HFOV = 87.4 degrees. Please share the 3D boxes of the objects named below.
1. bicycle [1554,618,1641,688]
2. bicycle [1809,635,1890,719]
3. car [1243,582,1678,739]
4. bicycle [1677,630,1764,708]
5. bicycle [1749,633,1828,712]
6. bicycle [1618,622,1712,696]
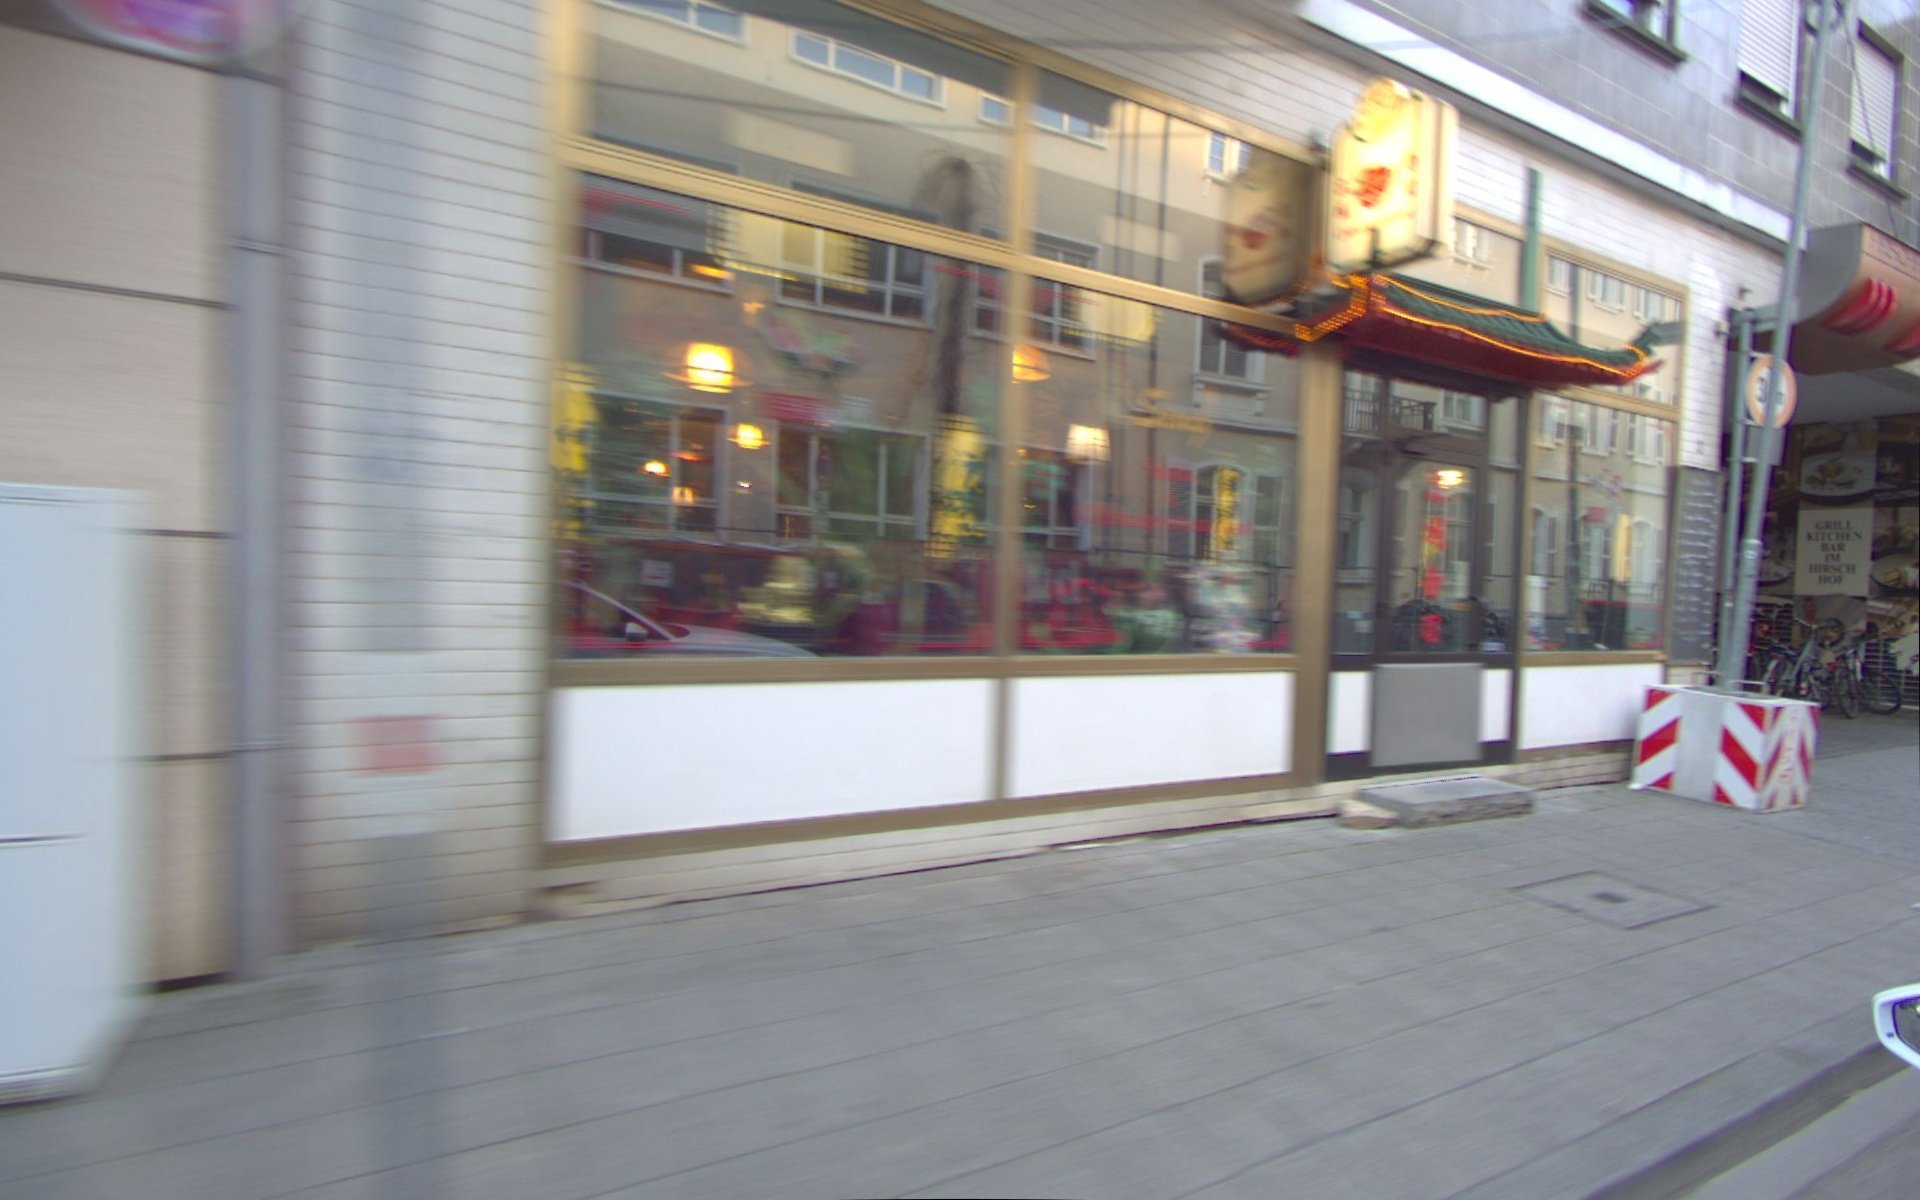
[{"bbox_3d":[9.712,0.781,15.274,1.776,0.974,0.375,0,2,-32],"label":"bicycle"},{"bbox_3d":[11.435,0.966,12.901,1.486,0.974,0.375,0,2,-34],"label":"bicycle"},{"bbox_3d":[5.762,0.576,12.140,1.997,1.441,4.292,1,2,-31],"label":"car"},{"bbox_3d":[10.604,0.940,13.982,1.777,0.974,0.375,0,2,-34],"label":"bicycle"},{"bbox_3d":[11.173,0.957,13.532,1.486,0.974,0.375,0,2,-34],"label":"bicycle"},{"bbox_3d":[10.086,0.818,14.349,1.775,0.974,0.375,0,2,-31],"label":"bicycle"}]
